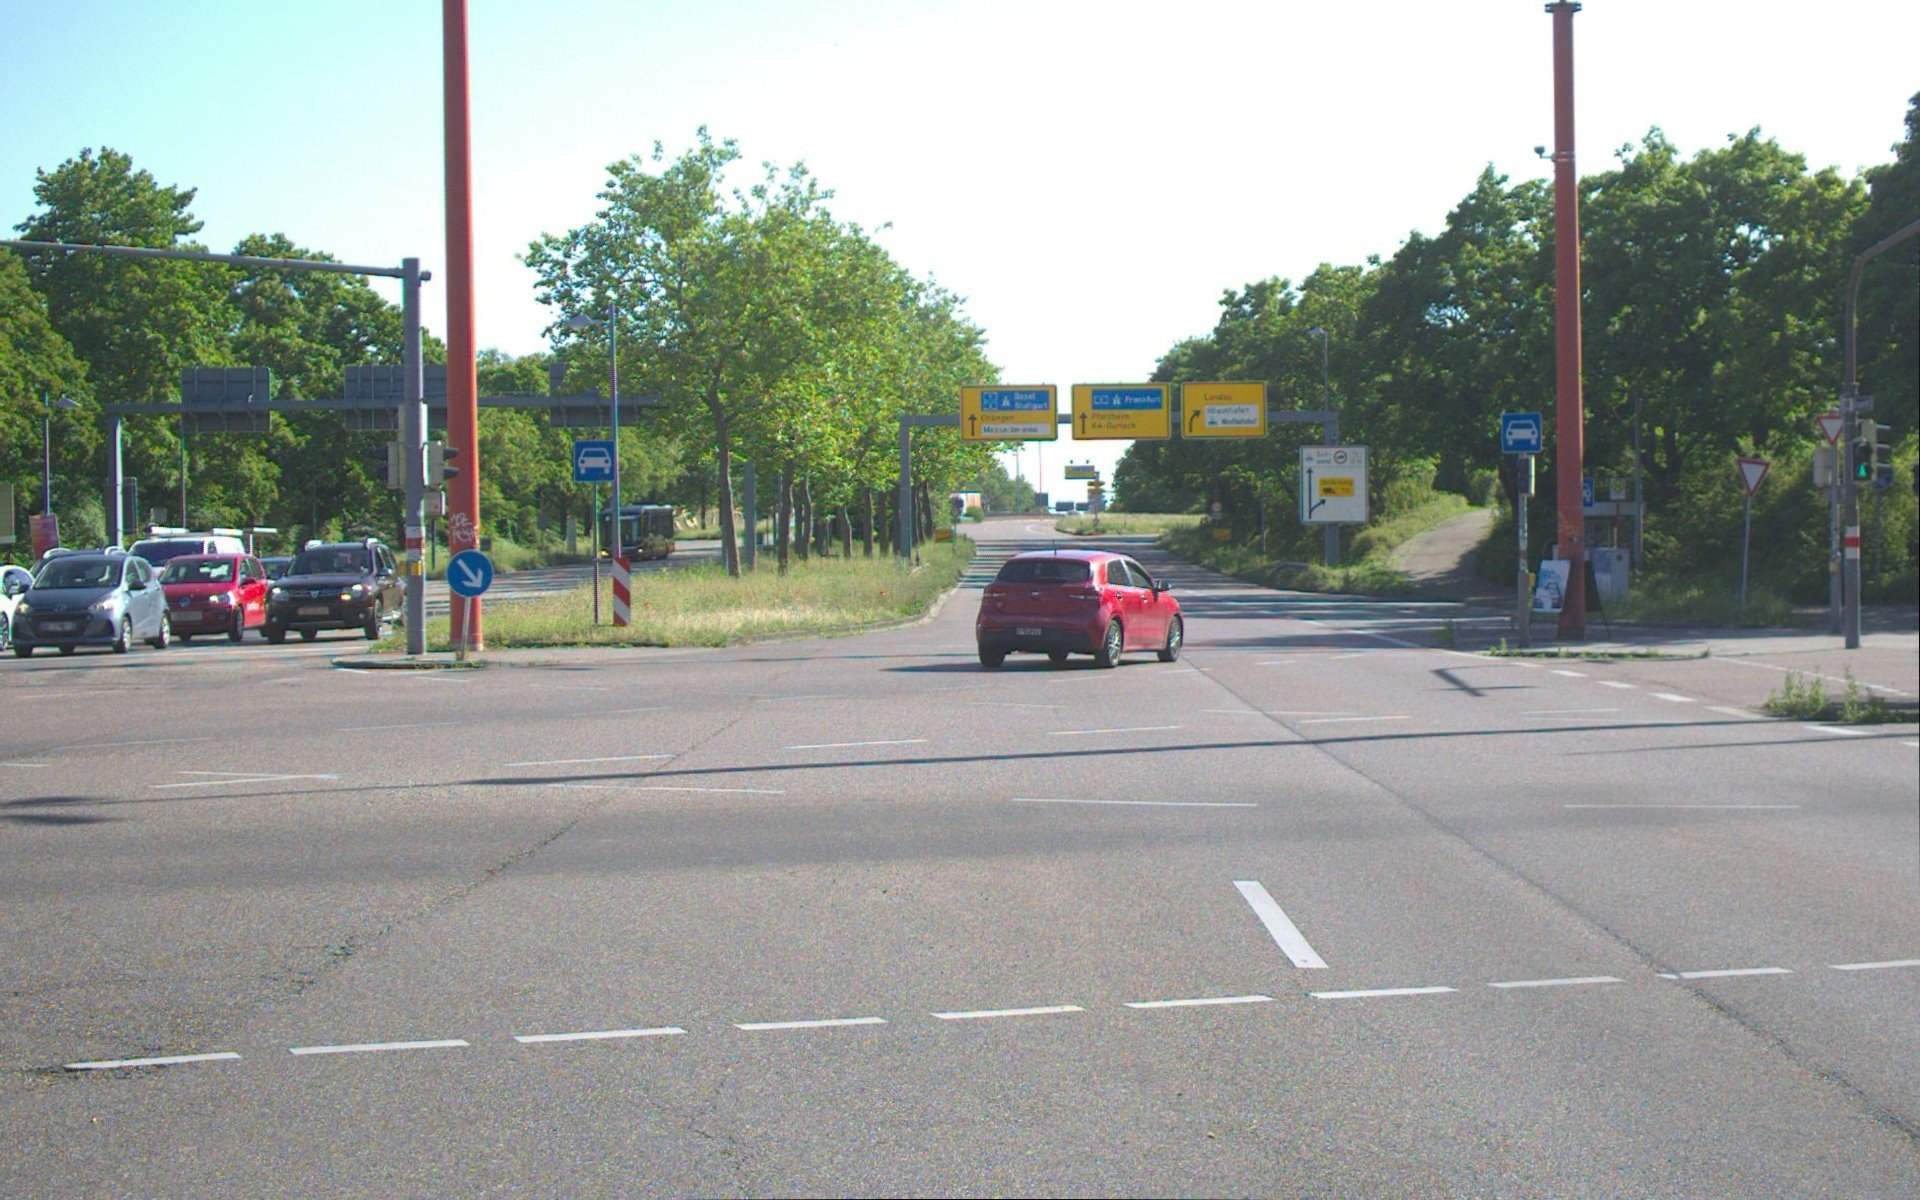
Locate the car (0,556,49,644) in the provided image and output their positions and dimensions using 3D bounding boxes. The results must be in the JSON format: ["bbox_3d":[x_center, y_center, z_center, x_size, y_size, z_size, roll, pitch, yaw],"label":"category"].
[{"bbox_3d":[-16.427,-0.016,57.048,1.739,1.406,3.613,-1,1,-1],"label":"car"}]

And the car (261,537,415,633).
[{"bbox_3d":[-10.132,-0.274,56.231,1.819,1.503,4.000,-1,1,-1],"label":"car"}]

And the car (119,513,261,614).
[{"bbox_3d":[-15.944,-0.755,71.423,1.893,2.019,5.223,0,1,-1],"label":"car"}]

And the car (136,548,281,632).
[{"bbox_3d":[-12.696,-0.189,58.271,1.739,1.357,3.613,-1,1,-1],"label":"car"}]

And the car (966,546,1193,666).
[{"bbox_3d":[1.570,0.041,43.618,1.682,1.430,4.061,0,1,20],"label":"car"}]

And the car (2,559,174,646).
[{"bbox_3d":[-13.119,0.016,51.902,1.739,1.239,3.613,-1,1,-1],"label":"car"}]

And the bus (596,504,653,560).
[{"bbox_3d":[-19.978,-4.044,205.203,2.492,3.227,10.001,-1,1,-1],"label":"bus"}]
